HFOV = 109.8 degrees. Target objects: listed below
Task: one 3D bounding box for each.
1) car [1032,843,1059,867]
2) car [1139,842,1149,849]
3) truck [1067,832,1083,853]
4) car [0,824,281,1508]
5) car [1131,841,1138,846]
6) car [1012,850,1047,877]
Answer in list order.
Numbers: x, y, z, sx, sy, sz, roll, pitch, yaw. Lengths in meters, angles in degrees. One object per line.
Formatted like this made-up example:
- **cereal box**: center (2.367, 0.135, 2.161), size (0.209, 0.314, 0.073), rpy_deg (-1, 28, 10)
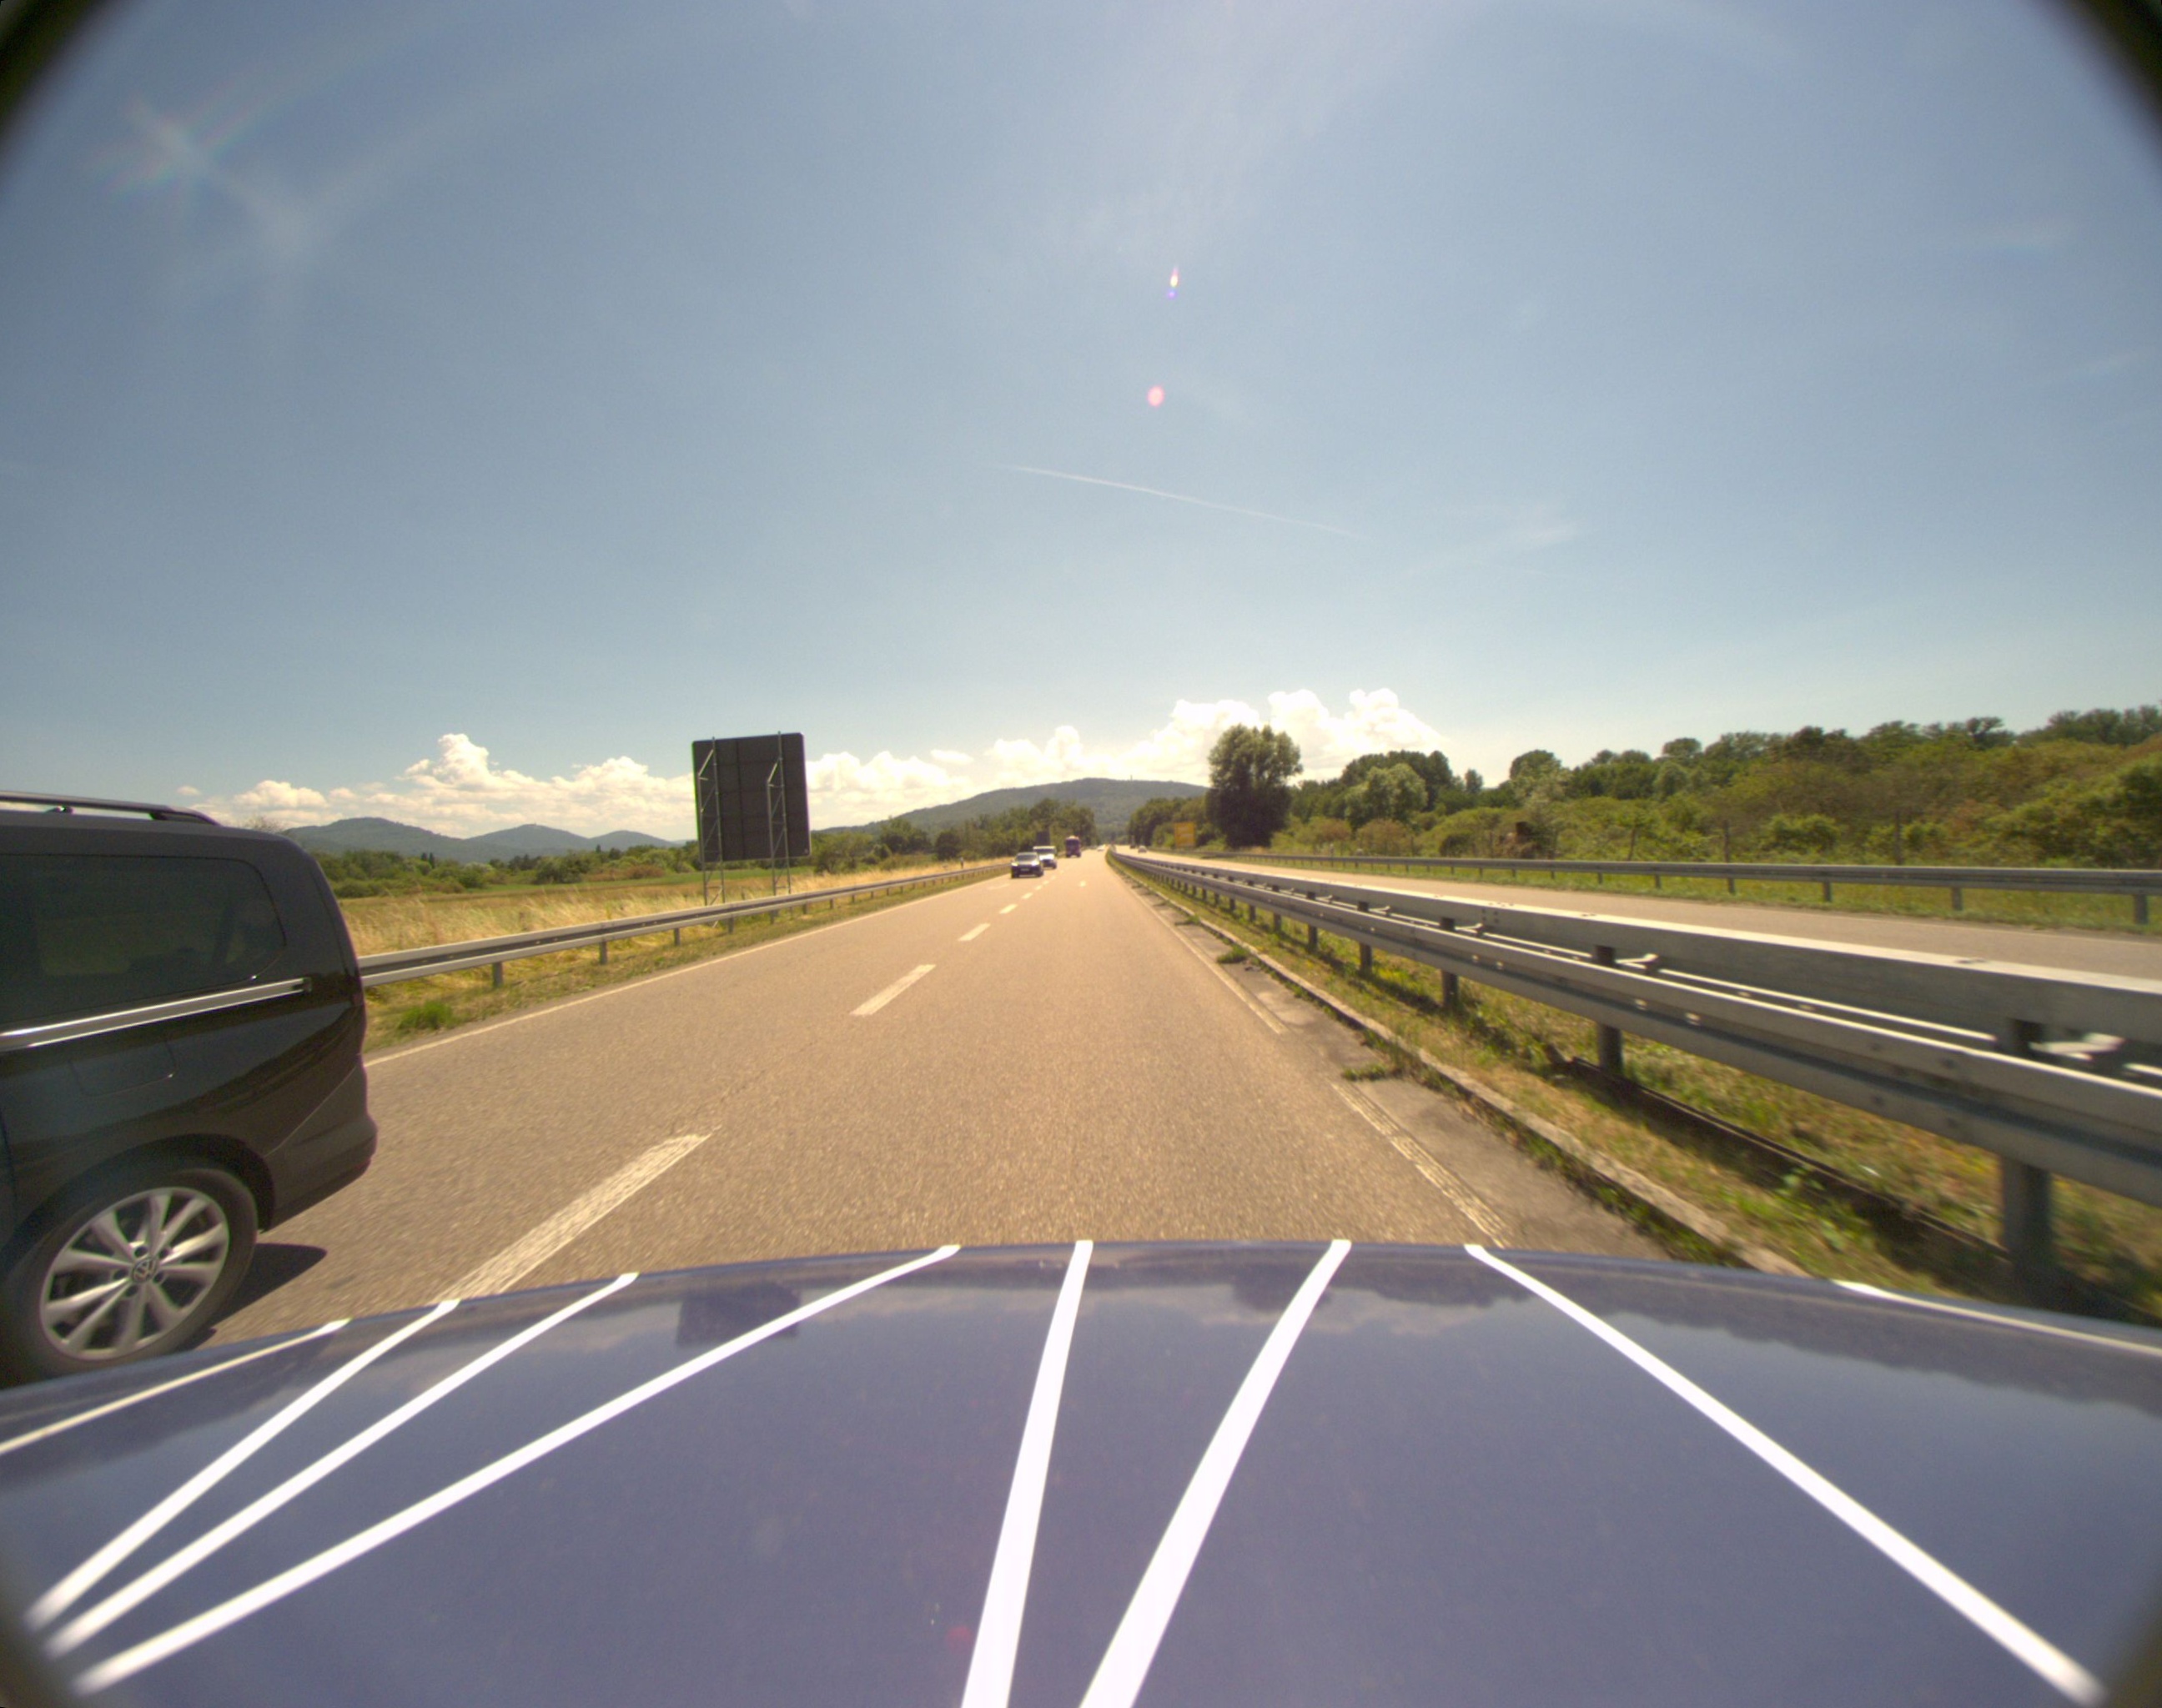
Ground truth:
- **car**: center (-3.007, 0.060, 65.871), size (2.011, 1.977, 5.033), rpy_deg (-3, 1, 0)
- **car**: center (13.918, -1.899, 169.091), size (1.831, 1.489, 4.102), rpy_deg (-4, 1, 1)
- **truck**: center (-1.041, -2.036, 137.413), size (2.604, 3.670, 5.939), rpy_deg (-2, 0, 2)
- **car**: center (-3.794, 0.882, 0.577), size (1.784, 1.806, 4.212), rpy_deg (-3, 1, 0)
- **car**: center (17.975, -3.443, 254.747), size (1.998, 1.627, 4.873), rpy_deg (-6, 1, 2)
- **car**: center (-3.206, 0.545, 47.532), size (1.789, 1.544, 4.019), rpy_deg (-1, 1, 1)
